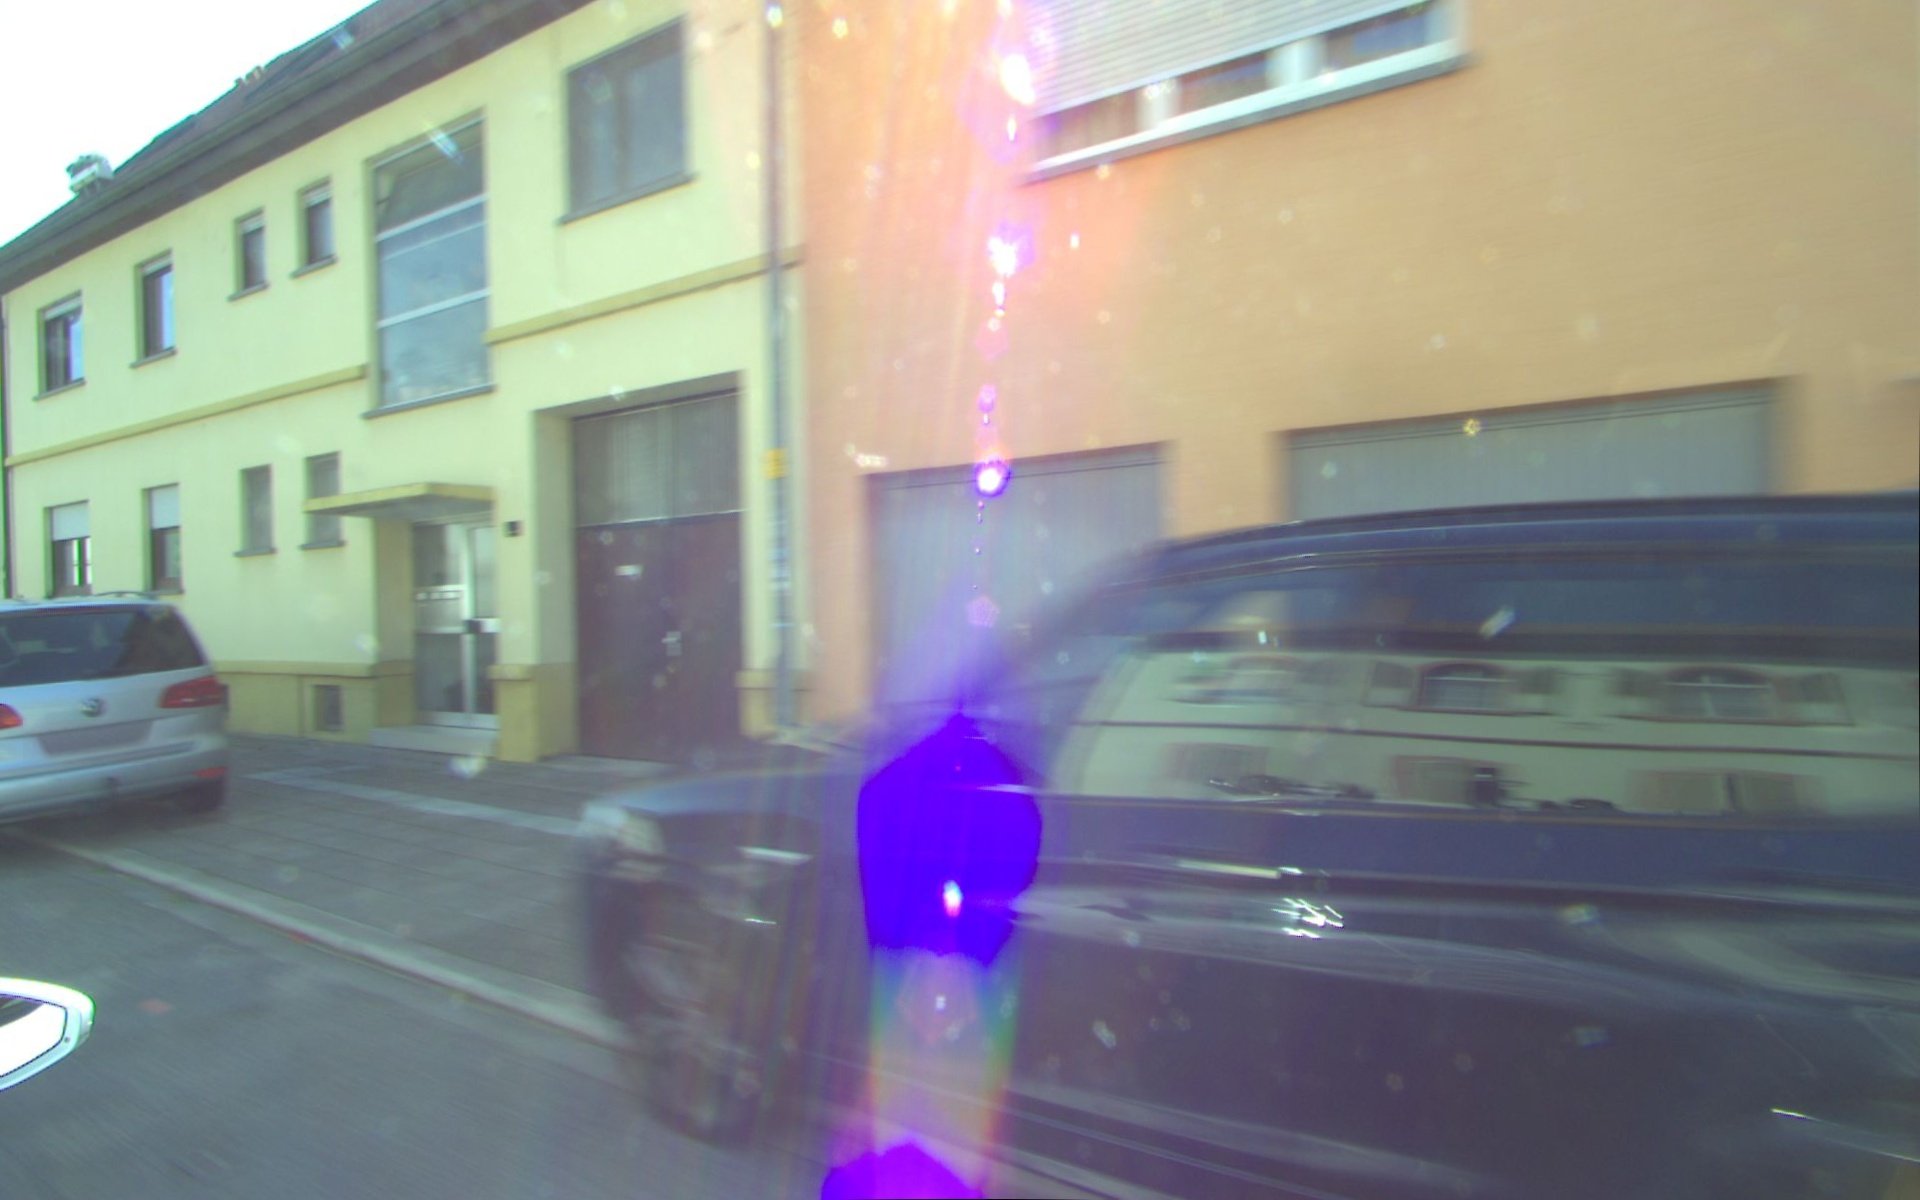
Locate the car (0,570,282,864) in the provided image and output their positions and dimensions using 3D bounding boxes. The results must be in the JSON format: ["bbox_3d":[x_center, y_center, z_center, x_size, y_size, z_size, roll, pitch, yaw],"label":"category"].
[{"bbox_3d":[-7.159,0.747,7.609,4.190,1.750,1.894,-1,-1,33],"label":"car"}]

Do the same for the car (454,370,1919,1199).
[{"bbox_3d":[0.966,0.572,2.645,5.109,1.725,1.839,-1,0,34],"label":"car"}]

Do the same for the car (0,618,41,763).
[{"bbox_3d":[-11.542,0.962,10.795,3.669,1.457,1.547,-1,0,34],"label":"car"}]
